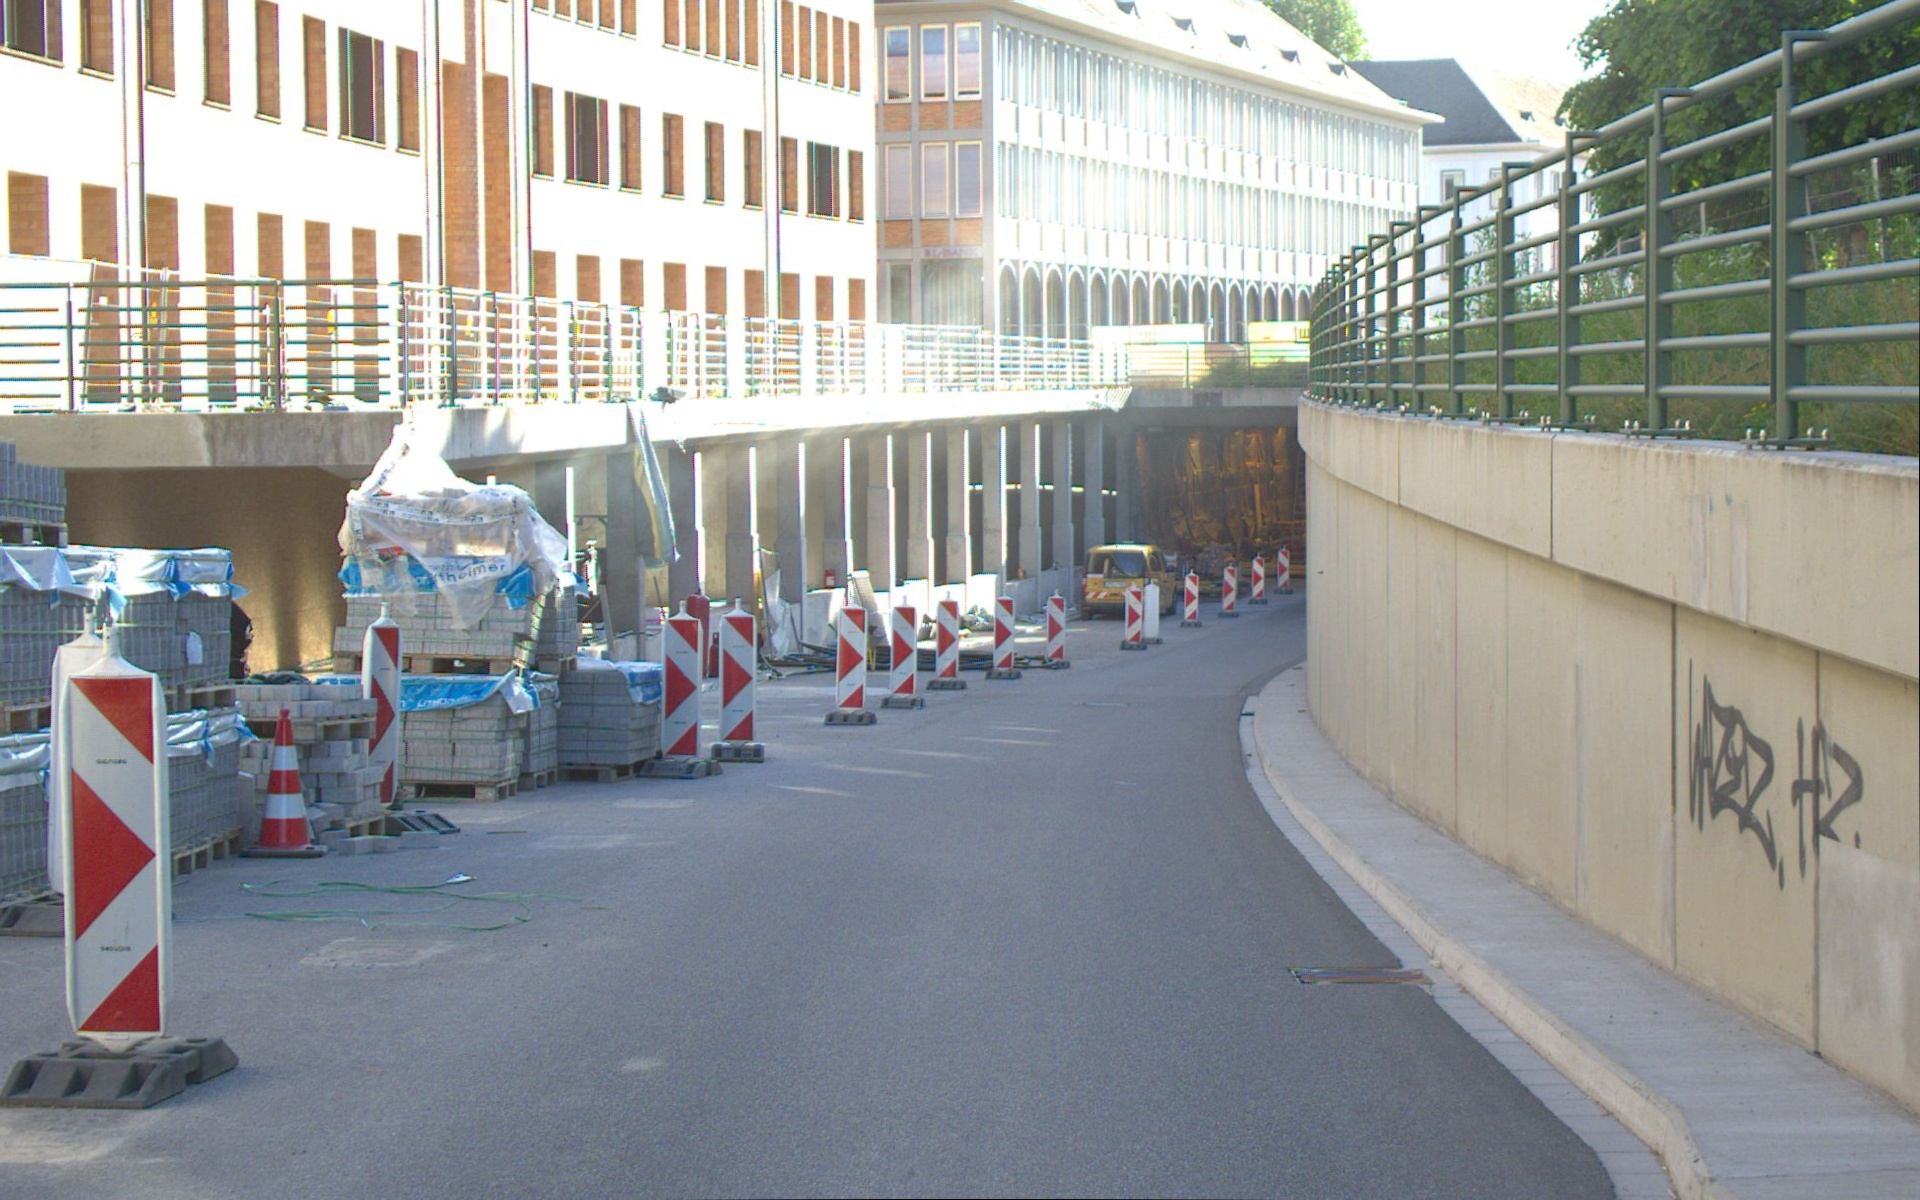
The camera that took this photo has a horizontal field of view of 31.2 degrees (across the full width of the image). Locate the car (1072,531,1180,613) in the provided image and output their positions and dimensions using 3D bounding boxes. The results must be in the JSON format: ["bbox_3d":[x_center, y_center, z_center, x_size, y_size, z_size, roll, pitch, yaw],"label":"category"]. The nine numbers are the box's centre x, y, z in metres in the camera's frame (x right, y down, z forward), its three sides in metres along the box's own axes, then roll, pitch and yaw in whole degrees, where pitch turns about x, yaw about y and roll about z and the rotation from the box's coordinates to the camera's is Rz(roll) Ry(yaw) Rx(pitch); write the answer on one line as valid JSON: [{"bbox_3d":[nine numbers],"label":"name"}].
[{"bbox_3d":[4.016,-0.698,82.373,1.849,1.769,4.432,1,3,12],"label":"car"}]

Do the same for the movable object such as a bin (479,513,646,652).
[{"bbox_3d":[-5.921,-0.288,51.531,1.885,1.980,3.158,1,1,5],"label":"movable object such as a bin"}]

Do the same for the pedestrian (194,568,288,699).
[{"bbox_3d":[-7.734,0.349,37.008,0.871,1.393,0.783,0,0,-2],"label":"pedestrian"}]
